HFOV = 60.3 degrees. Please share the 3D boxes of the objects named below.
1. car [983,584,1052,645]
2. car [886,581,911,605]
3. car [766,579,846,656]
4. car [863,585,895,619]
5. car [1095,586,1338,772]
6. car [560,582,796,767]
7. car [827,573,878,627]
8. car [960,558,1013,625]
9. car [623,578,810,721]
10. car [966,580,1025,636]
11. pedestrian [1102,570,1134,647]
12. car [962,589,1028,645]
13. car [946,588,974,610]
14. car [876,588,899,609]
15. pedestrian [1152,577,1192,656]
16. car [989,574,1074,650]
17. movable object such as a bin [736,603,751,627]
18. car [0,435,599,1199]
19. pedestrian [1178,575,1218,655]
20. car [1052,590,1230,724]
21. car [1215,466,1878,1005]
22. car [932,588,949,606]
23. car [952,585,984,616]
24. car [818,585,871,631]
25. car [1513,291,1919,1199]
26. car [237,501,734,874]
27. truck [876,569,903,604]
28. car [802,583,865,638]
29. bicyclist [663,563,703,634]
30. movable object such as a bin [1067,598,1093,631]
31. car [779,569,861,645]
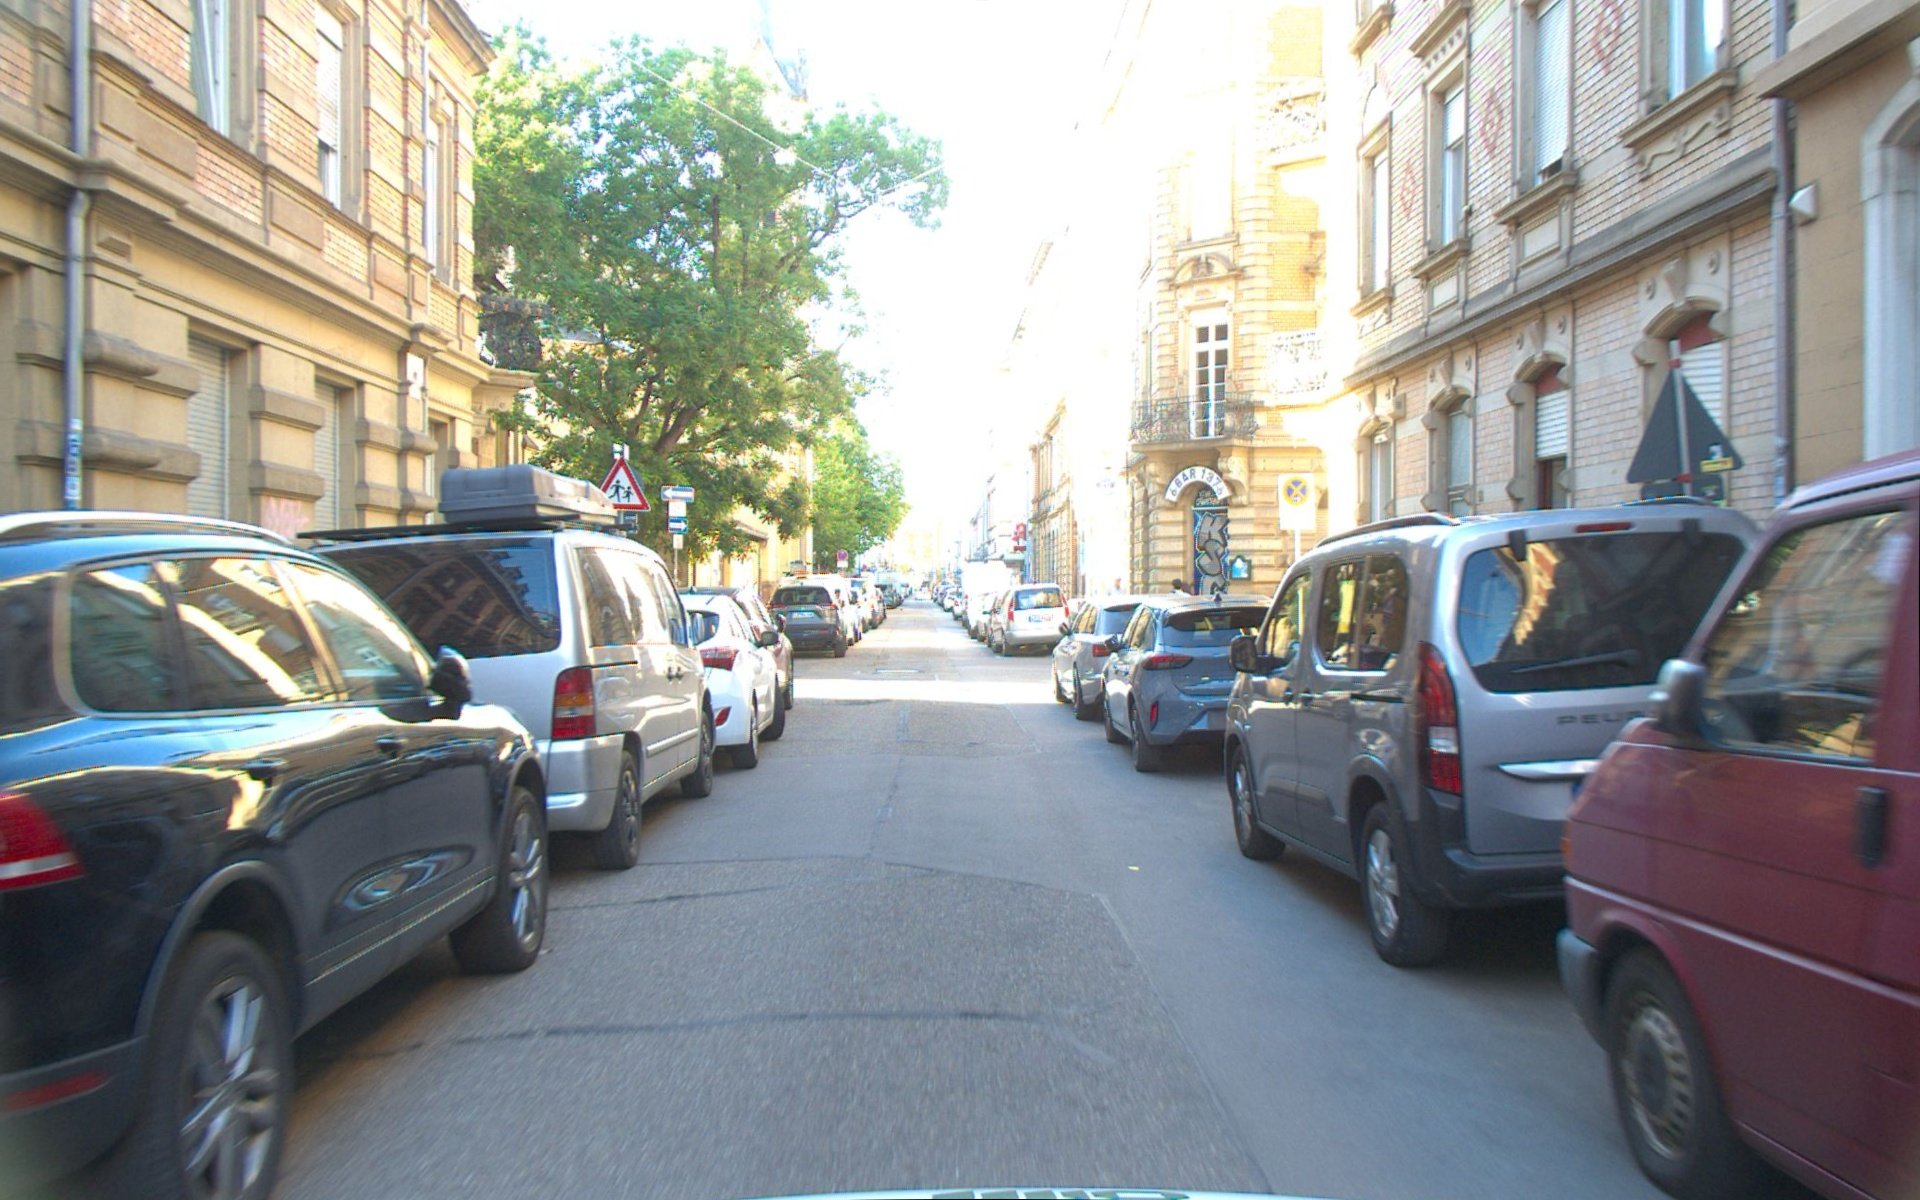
[{"bbox_3d":[1.517,0.358,44.760,1.504,1.539,3.679,-1,1,-3],"label":"car"},{"bbox_3d":[-4.638,-0.534,125.532,1.837,1.828,3.999,0,0,-1],"label":"car"},{"bbox_3d":[-3.501,0.356,38.262,1.706,1.675,4.286,0,0,-4],"label":"car"},{"bbox_3d":[-4.218,0.081,86.393,1.568,1.642,3.807,-2,0,-2],"label":"car"},{"bbox_3d":[2.283,0.636,15.616,1.633,1.505,3.887,0,1,-1],"label":"car"},{"bbox_3d":[-2.440,0.584,15.151,1.640,1.445,3.872,1,0,-3],"label":"car"},{"bbox_3d":[-4.215,-0.016,65.469,1.826,1.991,4.608,-2,0,-2],"label":"car"},{"bbox_3d":[1.068,-0.371,69.498,2.026,2.656,5.886,1,1,-1],"label":"car"},{"bbox_3d":[-2.822,0.529,19.975,1.687,1.507,4.089,1,0,-1],"label":"car"},{"bbox_3d":[1.135,0.260,54.846,1.771,1.719,4.213,2,0,-1],"label":"car"},{"bbox_3d":[3.661,0.186,38.333,0.563,1.763,0.662,-1,1,-8],"label":"pedestrian"},{"bbox_3d":[1.031,0.487,50.447,1.541,1.551,3.904,2,0,-5],"label":"car"},{"bbox_3d":[-0.015,-0.081,113.852,1.859,1.514,3.868,0,0,-1],"label":"car"},{"bbox_3d":[-6.459,-0.170,147.502,1.839,1.828,3.996,0,0,-5],"label":"car"},{"bbox_3d":[4.426,0.338,34.554,0.581,1.632,0.724,-1,1,-16],"label":"pedestrian"},{"bbox_3d":[1.690,0.259,40.102,1.669,1.744,3.935,-1,1,-3],"label":"car"},{"bbox_3d":[-7.385,0.515,56.544,0.444,0.821,0.590,0,0,-2],"label":"movable object such as a bin"},{"bbox_3d":[-2.490,0.511,5.078,1.751,1.652,4.607,1,0,-1],"label":"car"},{"bbox_3d":[5.003,0.298,34.777,0.565,1.650,0.731,-1,1,-17],"label":"pedestrian"},{"bbox_3d":[2.189,0.633,21.102,1.671,1.484,4.510,1,0,-1],"label":"car"},{"bbox_3d":[2.553,0.498,8.387,1.734,1.995,4.263,2,0,-1],"label":"car"},{"bbox_3d":[-2.248,-0.307,190.193,1.953,2.049,3.999,0,0,-1],"label":"car"},{"bbox_3d":[0.413,0.025,85.334,1.571,1.531,4.000,1,0,0],"label":"car"},{"bbox_3d":[-4.138,0.266,59.828,1.707,1.614,3.868,0,0,-1],"label":"car"},{"bbox_3d":[2.728,0.456,2.919,1.795,2.049,4.741,2,0,-1],"label":"car"},{"bbox_3d":[-2.682,0.426,10.560,1.854,1.815,4.607,1,0,-1],"label":"car"},{"bbox_3d":[-6.971,-1.333,163.981,2.480,3.339,6.993,0,0,-1],"label":"truck"},{"bbox_3d":[-3.736,0.278,49.269,1.653,1.502,3.859,-2,1,-2],"label":"car"},{"bbox_3d":[-6.974,-0.047,41.685,0.788,1.753,0.692,2,1,7],"label":"bicyclist"},{"bbox_3d":[3.933,0.474,54.082,0.543,1.071,0.596,-3,1,-35],"label":"movable object such as a bin"},{"bbox_3d":[-3.656,0.138,43.779,1.808,1.894,4.465,0,1,0],"label":"car"}]
